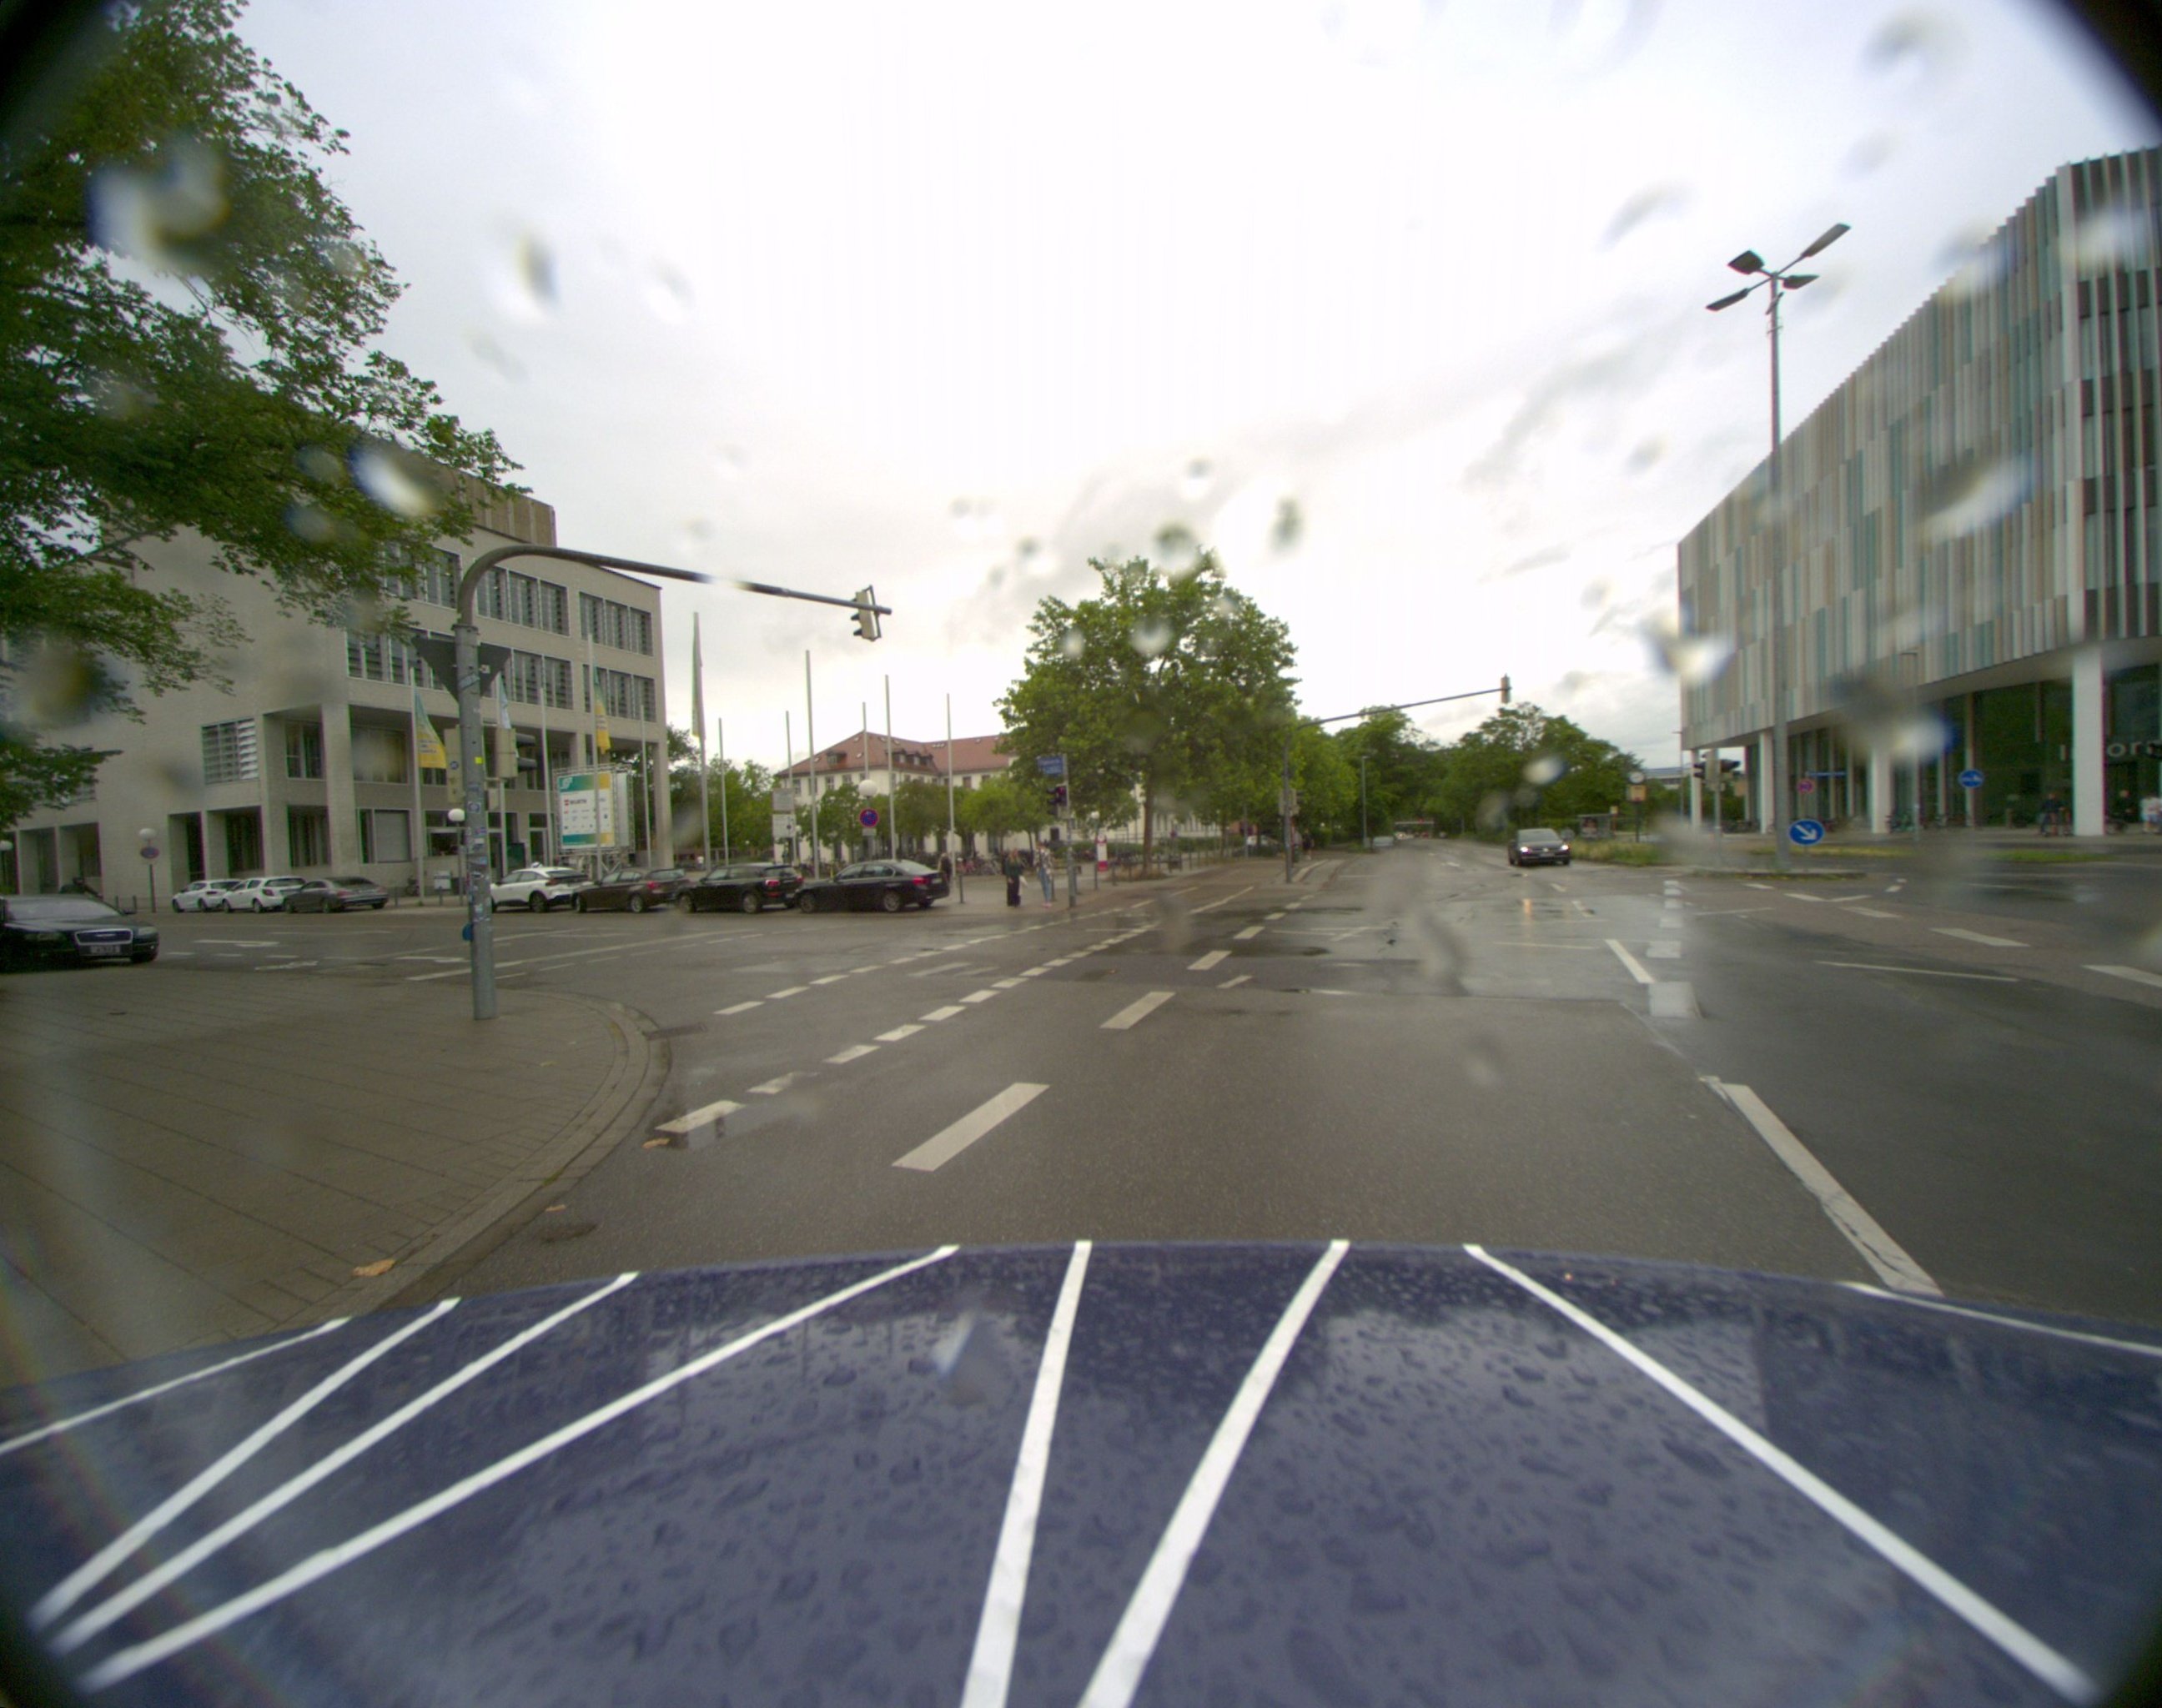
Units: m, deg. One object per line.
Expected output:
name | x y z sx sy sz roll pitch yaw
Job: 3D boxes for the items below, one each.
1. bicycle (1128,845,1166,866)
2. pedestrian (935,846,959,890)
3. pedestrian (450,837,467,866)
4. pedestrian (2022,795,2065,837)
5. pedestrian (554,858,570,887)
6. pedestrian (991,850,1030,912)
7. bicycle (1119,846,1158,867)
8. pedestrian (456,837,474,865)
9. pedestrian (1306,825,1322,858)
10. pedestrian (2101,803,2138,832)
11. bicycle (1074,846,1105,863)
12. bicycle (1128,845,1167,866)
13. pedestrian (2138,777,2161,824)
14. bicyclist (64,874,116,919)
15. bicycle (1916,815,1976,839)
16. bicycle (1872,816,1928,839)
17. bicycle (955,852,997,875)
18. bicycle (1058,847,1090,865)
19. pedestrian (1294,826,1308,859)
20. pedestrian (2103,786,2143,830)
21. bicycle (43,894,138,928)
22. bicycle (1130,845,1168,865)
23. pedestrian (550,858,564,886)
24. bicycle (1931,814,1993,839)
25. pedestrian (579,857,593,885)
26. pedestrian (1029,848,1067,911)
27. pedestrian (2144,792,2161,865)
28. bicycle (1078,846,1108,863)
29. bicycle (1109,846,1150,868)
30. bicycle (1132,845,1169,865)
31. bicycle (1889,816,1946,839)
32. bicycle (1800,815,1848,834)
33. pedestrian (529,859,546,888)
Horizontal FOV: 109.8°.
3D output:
bicycle | 4.156 0.095 47.588 2.282 1.215 0.599 -2 1 12
pedestrian | -5.502 0.565 31.217 0.849 1.728 1.122 -3 1 -7
pedestrian | -33.442 -0.144 40.822 0.567 1.507 0.542 -3 1 -27
pedestrian | 43.199 -1.697 34.097 0.940 1.814 0.922 -3 1 -17
pedestrian | -27.802 0.977 40.720 0.565 1.507 0.544 -1 2 44
pedestrian | -1.887 0.711 20.407 0.876 1.598 0.863 -2 1 2
bicycle | 3.479 0.143 46.001 2.282 1.215 0.599 -2 1 12
pedestrian | -33.672 -0.146 41.540 0.567 1.507 0.542 -3 1 -25
pedestrian | 13.017 -0.690 42.504 0.624 1.814 0.787 -2 1 3
pedestrian | 43.211 -1.521 31.618 0.623 1.146 0.788 -2 1 27
bicycle | 0.641 0.071 58.583 2.282 1.215 0.599 -2 1 12
bicycle | 4.084 0.108 46.870 2.282 1.215 0.599 -2 1 12
pedestrian | 42.774 -2.139 30.152 0.786 1.814 0.624 -2 1 1
bicyclist | -37.521 1.600 28.779 0.892 1.615 0.801 -3 1 -32
bicycle | 47.513 -1.484 41.756 2.282 1.215 0.599 -2 1 12
bicycle | 47.803 -1.532 44.370 2.282 1.215 0.599 -2 1 12
bicycle | -6.063 0.552 43.947 2.282 1.215 0.599 -2 1 12
bicycle | -0.523 0.162 56.147 2.282 1.215 0.599 -2 1 12
pedestrian | 12.308 -0.668 42.544 0.624 1.814 0.787 -2 1 10
pedestrian | 44.196 -1.931 32.230 0.786 1.814 0.624 -2 1 1
bicycle | -37.483 2.154 28.801 2.001 1.091 0.801 -3 1 -32
bicycle | 4.321 0.077 48.393 2.282 1.215 0.599 -2 1 12
pedestrian | -28.618 0.997 41.485 0.565 1.507 0.470 -1 2 44
bicycle | 47.565 -1.475 41.059 2.282 1.215 0.599 -2 1 12
pedestrian | -27.744 0.950 42.550 0.565 1.507 0.470 -1 2 44
pedestrian | -0.860 0.666 20.150 0.876 1.598 0.863 -2 1 3
pedestrian | 27.140 -0.636 18.717 0.786 1.814 0.796 -2 1 1
bicycle | 0.929 0.045 59.628 2.282 1.215 0.599 -2 1 12
bicycle | 2.837 0.189 44.590 2.282 1.215 0.599 -2 1 12
bicycle | 4.511 0.059 49.111 2.282 1.215 0.599 -2 1 12
bicycle | 47.606 -1.509 43.257 2.282 1.215 0.599 -2 1 12
bicycle | 51.655 -2.073 52.834 2.280 1.215 0.600 -2 1 34
pedestrian | -28.672 1.019 40.067 0.565 1.507 0.544 -1 2 44
